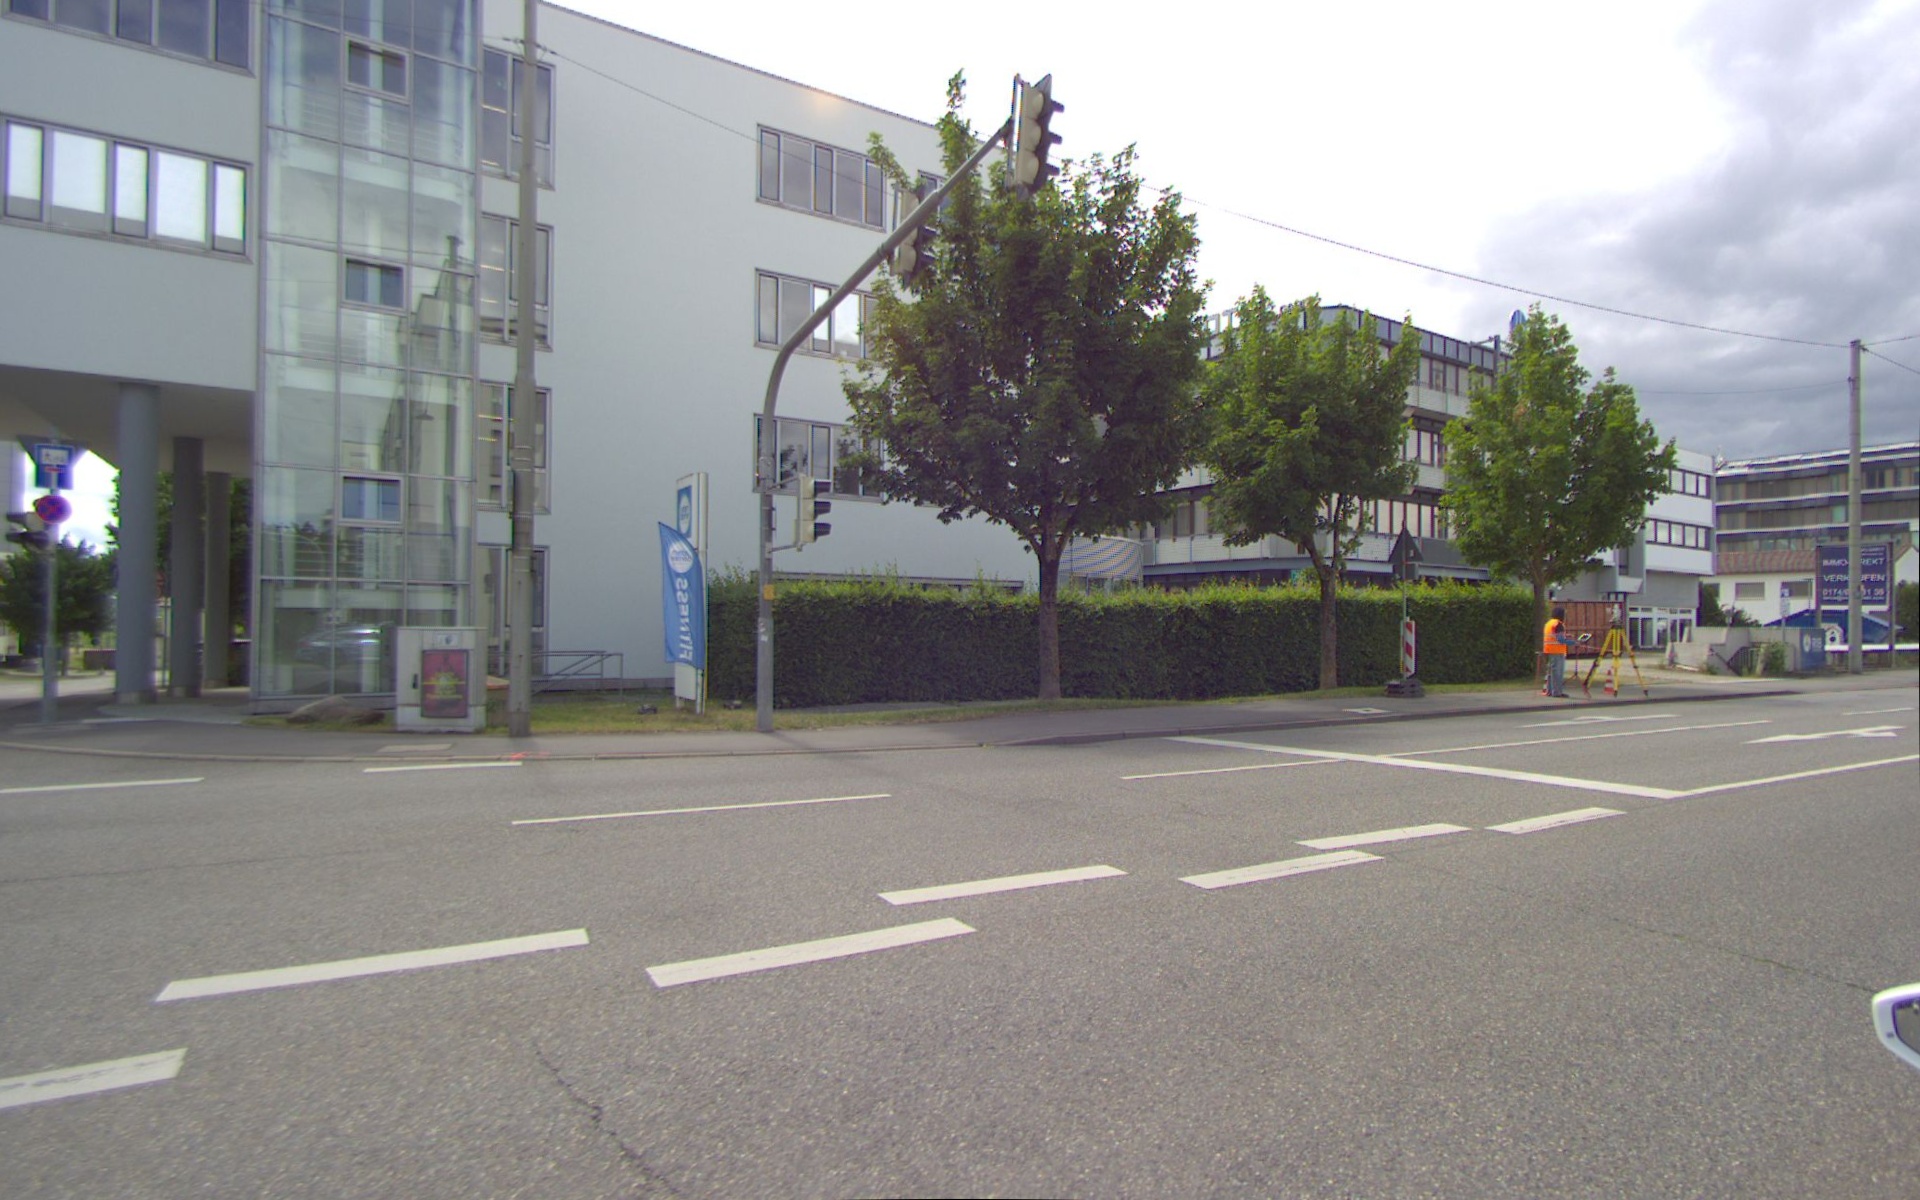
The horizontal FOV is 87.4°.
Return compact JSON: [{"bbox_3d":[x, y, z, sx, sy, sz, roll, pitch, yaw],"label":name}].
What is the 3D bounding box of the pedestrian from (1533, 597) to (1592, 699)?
[{"bbox_3d":[12.416,0.978,20.725,0.794,2.040,0.726,2,0,13],"label":"pedestrian"}]
